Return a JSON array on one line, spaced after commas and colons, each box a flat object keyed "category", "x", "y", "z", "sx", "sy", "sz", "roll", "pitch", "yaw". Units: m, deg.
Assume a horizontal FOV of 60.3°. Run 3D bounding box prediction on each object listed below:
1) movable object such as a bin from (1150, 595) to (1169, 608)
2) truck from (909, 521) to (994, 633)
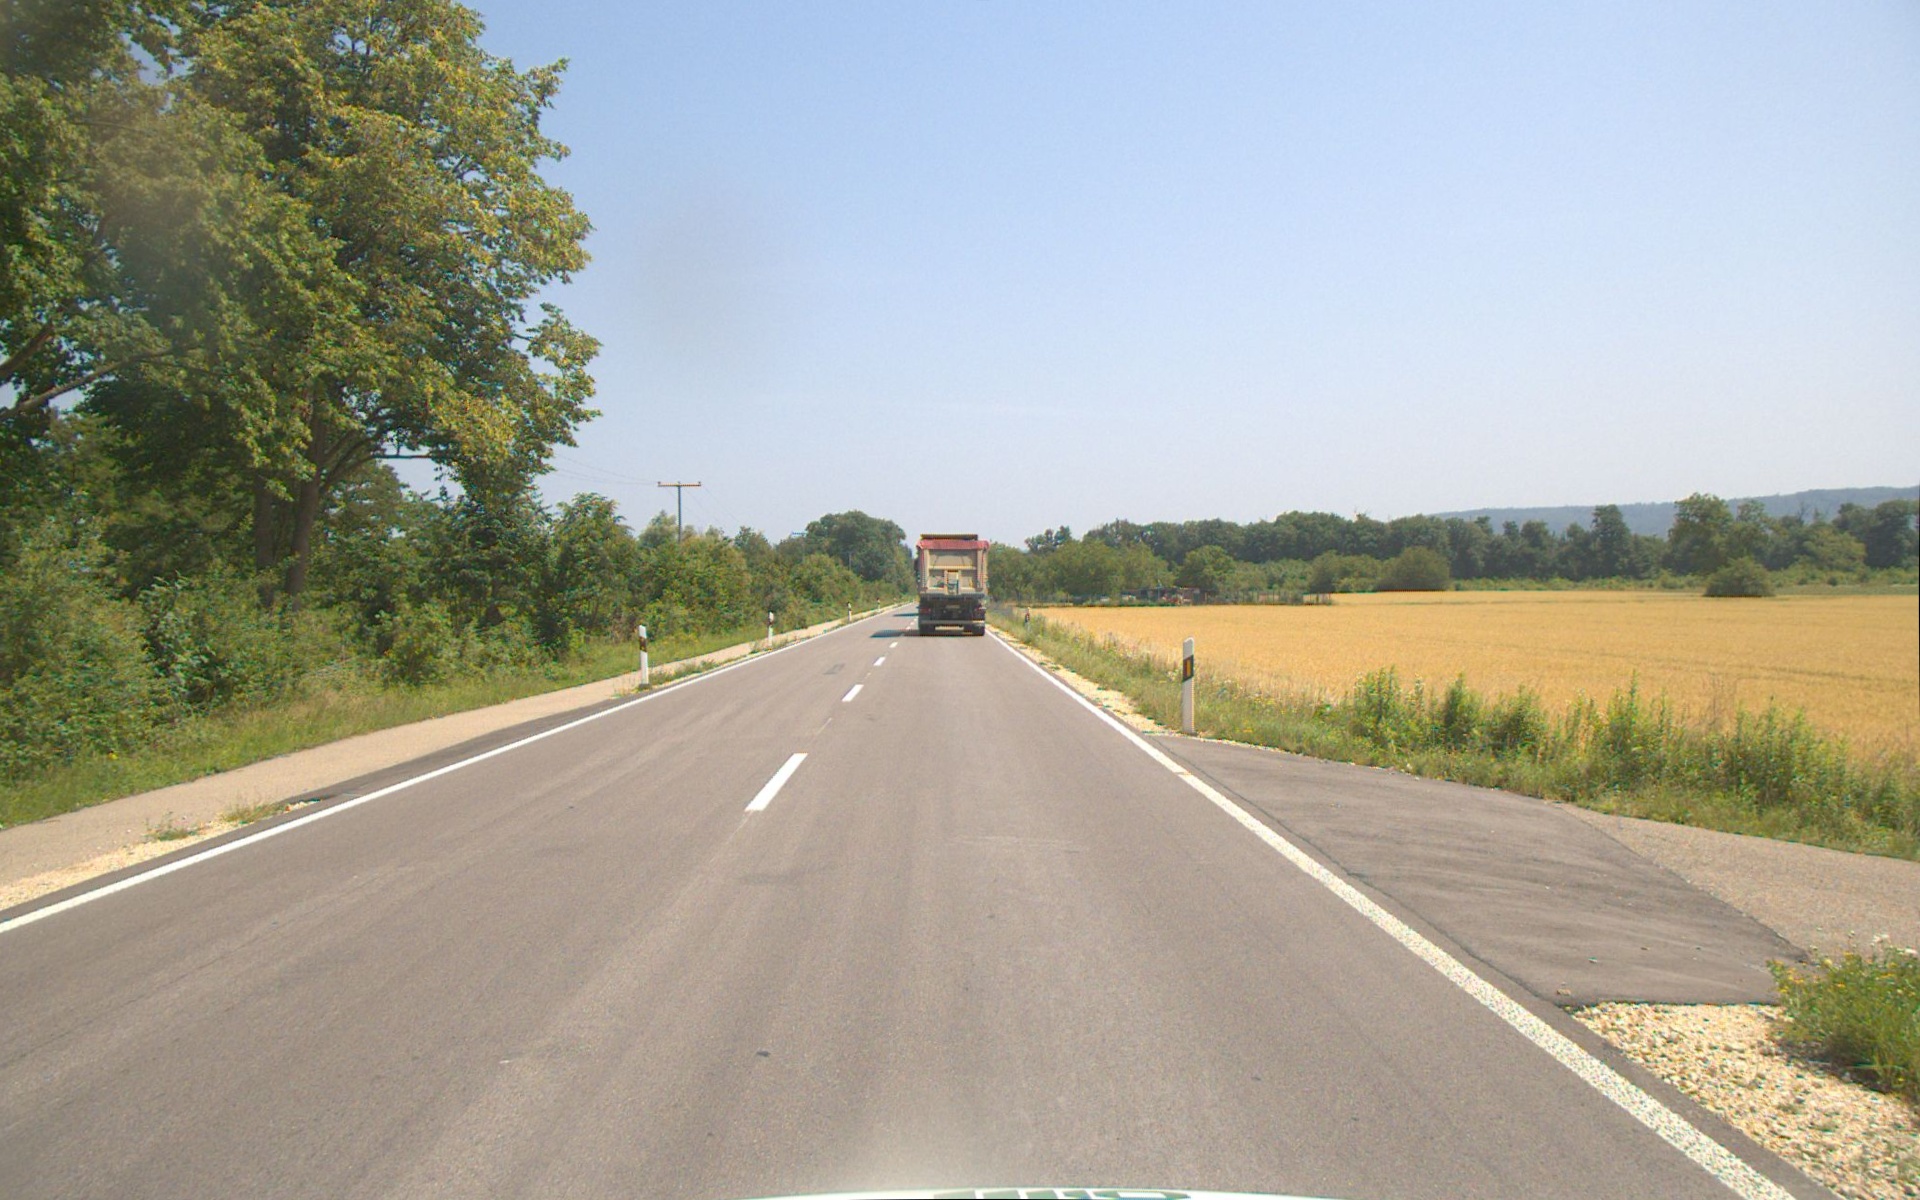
[{"category": "movable object such as a bin", "x": 23.645, "y": 0.182, "z": 196.278, "sx": 1.540, "sy": 1.522, "sz": 3.655, "roll": 0, "pitch": 0, "yaw": -5}, {"category": "truck", "x": -0.398, "y": -0.800, "z": 65.021, "sx": 2.948, "sy": 3.942, "sz": 12.206, "roll": 1, "pitch": 0, "yaw": -1}]
